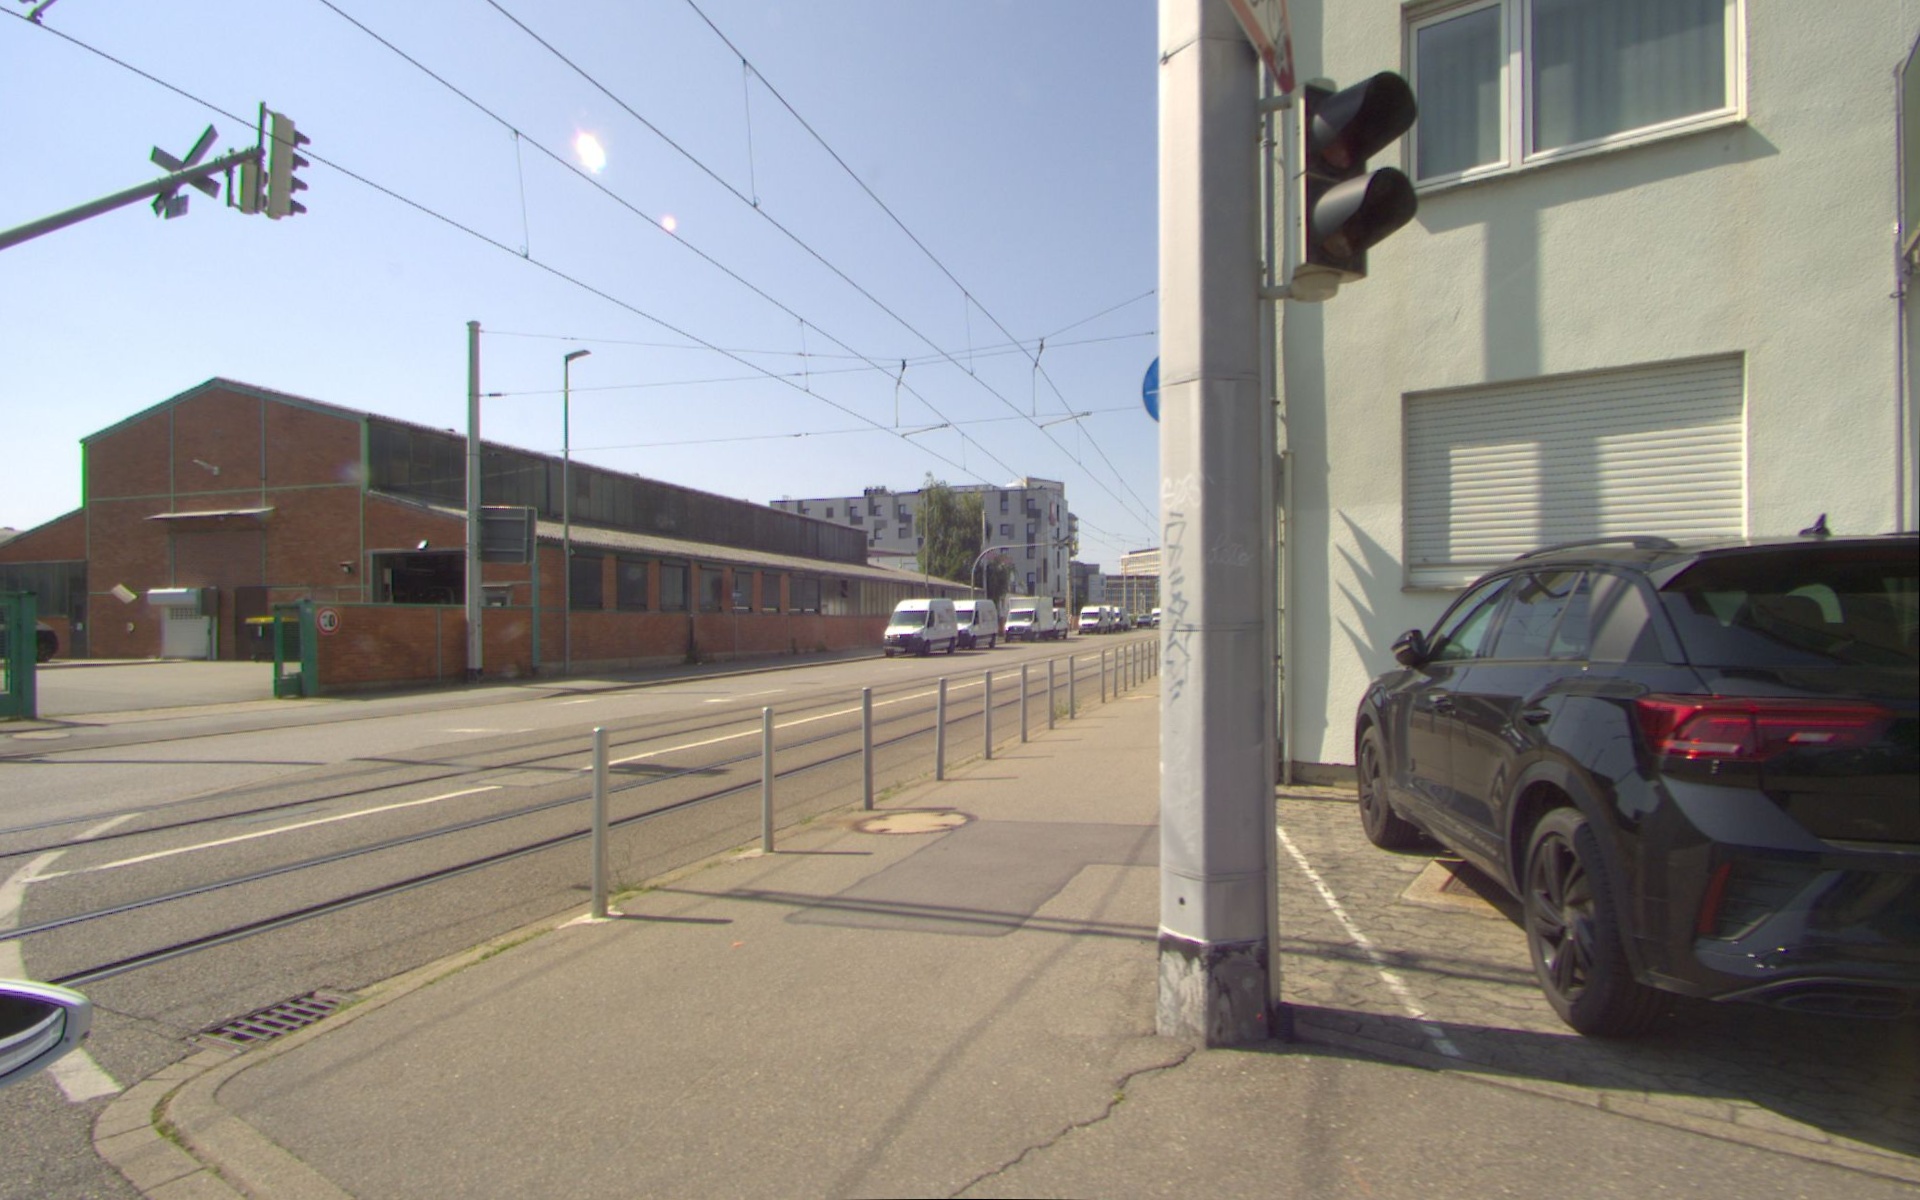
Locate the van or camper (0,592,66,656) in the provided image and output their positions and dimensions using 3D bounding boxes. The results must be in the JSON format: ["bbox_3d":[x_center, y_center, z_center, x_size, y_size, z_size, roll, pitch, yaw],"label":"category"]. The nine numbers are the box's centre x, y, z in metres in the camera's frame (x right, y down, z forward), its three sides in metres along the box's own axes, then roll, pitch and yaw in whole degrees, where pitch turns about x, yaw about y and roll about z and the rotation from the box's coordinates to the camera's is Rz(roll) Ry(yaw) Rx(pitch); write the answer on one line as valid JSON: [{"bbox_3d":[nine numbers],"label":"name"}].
[{"bbox_3d":[-30.062,0.720,30.339,1.961,1.923,4.425,0,-3,-1],"label":"van or camper"}]

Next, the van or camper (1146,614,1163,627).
[{"bbox_3d":[29.094,3.067,149.828,1.964,2.040,3.993,-1,-1,18],"label":"van or camper"}]

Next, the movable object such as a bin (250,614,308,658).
[{"bbox_3d":[-20.807,1.092,30.607,1.132,1.331,0.976,0,0,18],"label":"movable object such as a bin"}]

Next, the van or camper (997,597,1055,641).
[{"bbox_3d":[4.569,1.263,68.095,2.478,2.822,7.108,-1,-1,16],"label":"van or camper"}]

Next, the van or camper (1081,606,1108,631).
[{"bbox_3d":[12.425,1.691,92.384,1.921,2.240,4.904,-1,-1,14],"label":"van or camper"}]

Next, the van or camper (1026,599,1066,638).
[{"bbox_3d":[6.407,1.385,74.201,2.137,2.822,4.726,-1,-1,16],"label":"van or camper"}]

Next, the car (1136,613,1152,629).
[{"bbox_3d":[24.989,2.841,135.950,1.794,2.040,3.830,-1,-1,17],"label":"car"}]

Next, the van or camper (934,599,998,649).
[{"bbox_3d":[0.400,1.280,53.836,2.007,2.567,5.575,-1,-1,16],"label":"van or camper"}]

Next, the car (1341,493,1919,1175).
[{"bbox_3d":[2.947,0.563,4.140,1.844,1.540,3.973,-1,-1,10],"label":"car"}]

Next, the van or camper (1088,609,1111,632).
[{"bbox_3d":[13.851,1.992,99.049,1.792,2.240,4.421,-1,-1,14],"label":"van or camper"}]

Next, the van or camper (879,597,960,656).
[{"bbox_3d":[-1.791,1.235,46.712,2.007,2.567,5.862,-1,-1,16],"label":"van or camper"}]
